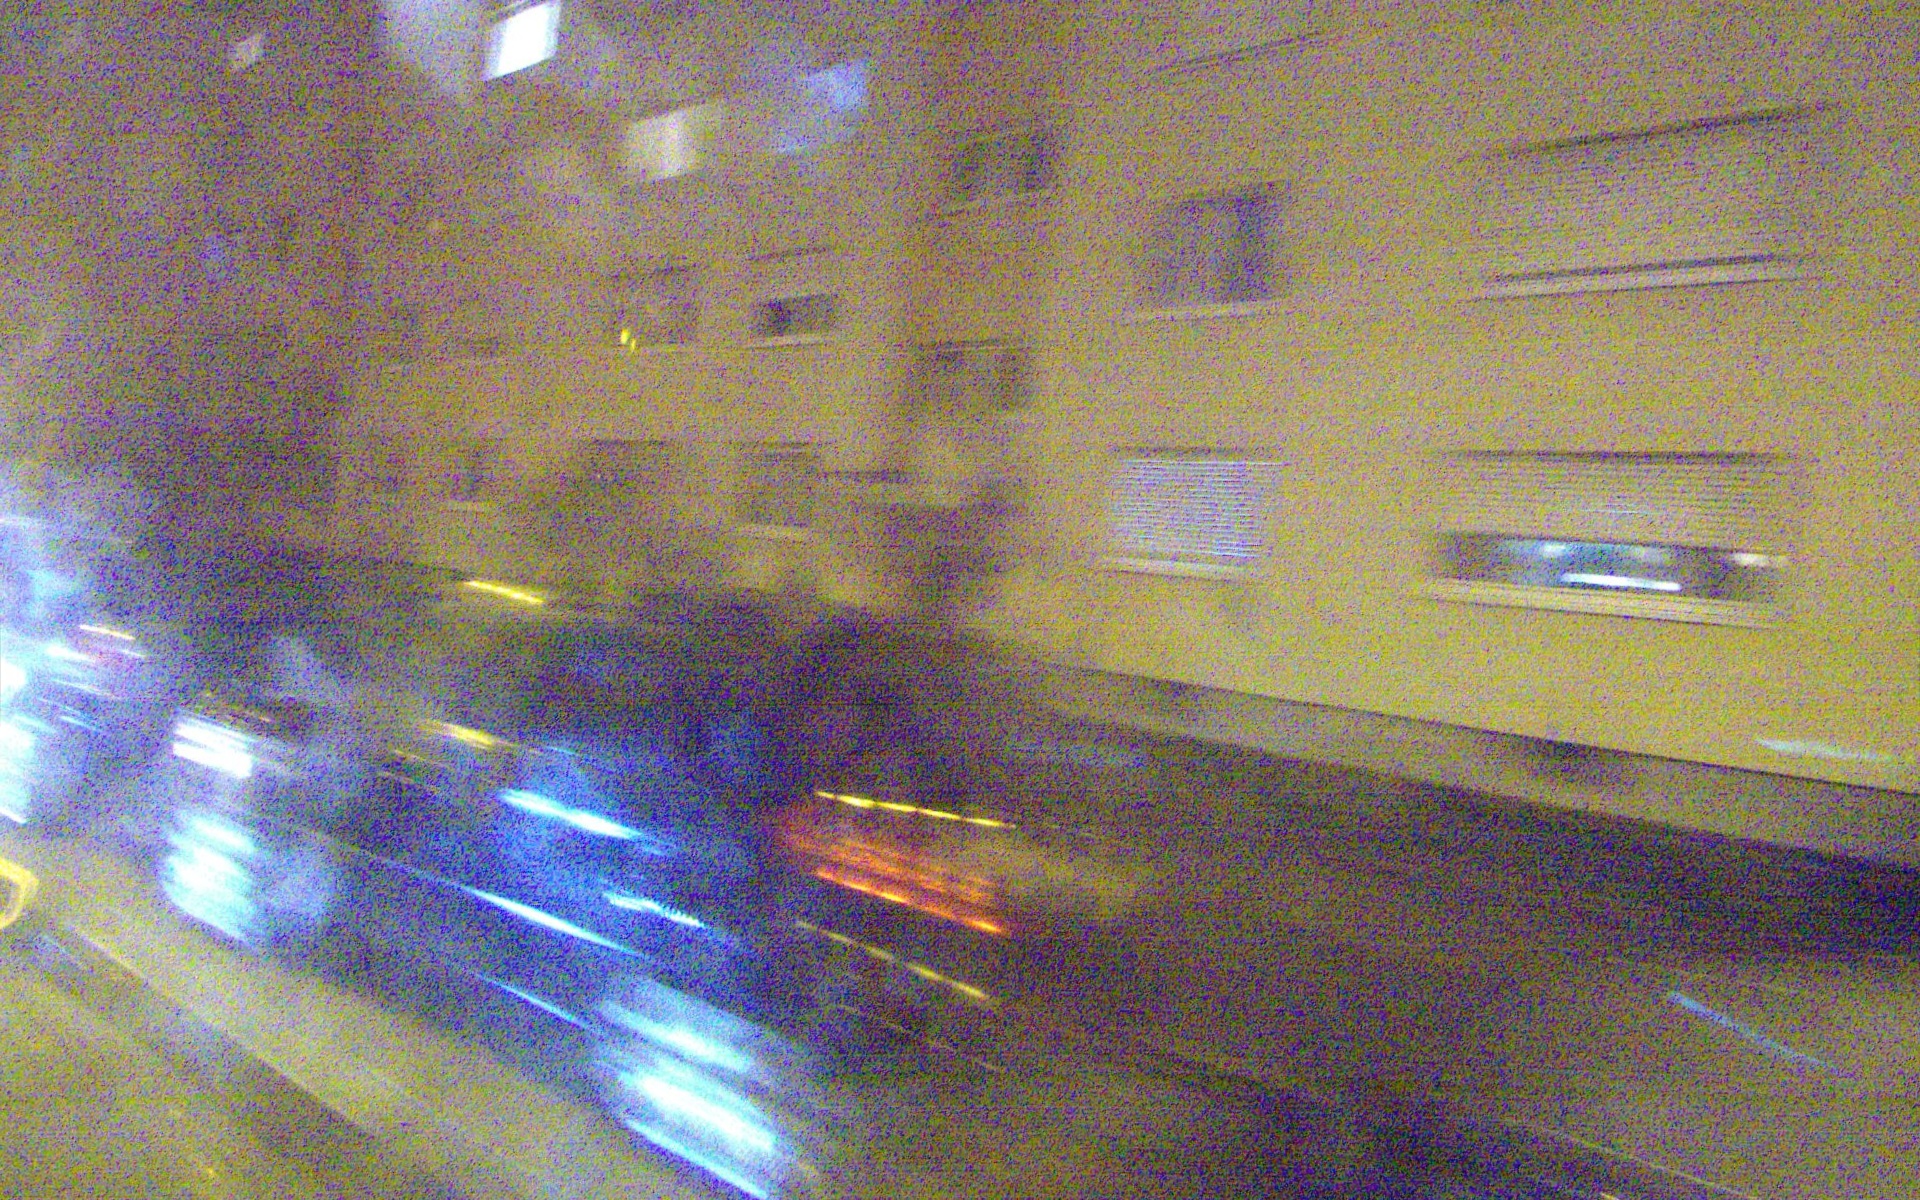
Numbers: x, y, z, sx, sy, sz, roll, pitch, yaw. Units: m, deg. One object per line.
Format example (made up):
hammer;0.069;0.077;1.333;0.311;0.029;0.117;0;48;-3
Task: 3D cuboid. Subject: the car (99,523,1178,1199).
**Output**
car;-1.321;0.624;3.694;3.728;1.406;1.605;7;1;30

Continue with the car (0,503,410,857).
car;-4.957;0.225;5.747;3.685;1.406;1.496;7;1;32

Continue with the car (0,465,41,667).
car;-10.088;-0.510;8.898;3.934;1.695;1.822;7;1;32

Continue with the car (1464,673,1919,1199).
car;2.989;1.105;0.898;4.436;1.485;1.629;7;1;33
